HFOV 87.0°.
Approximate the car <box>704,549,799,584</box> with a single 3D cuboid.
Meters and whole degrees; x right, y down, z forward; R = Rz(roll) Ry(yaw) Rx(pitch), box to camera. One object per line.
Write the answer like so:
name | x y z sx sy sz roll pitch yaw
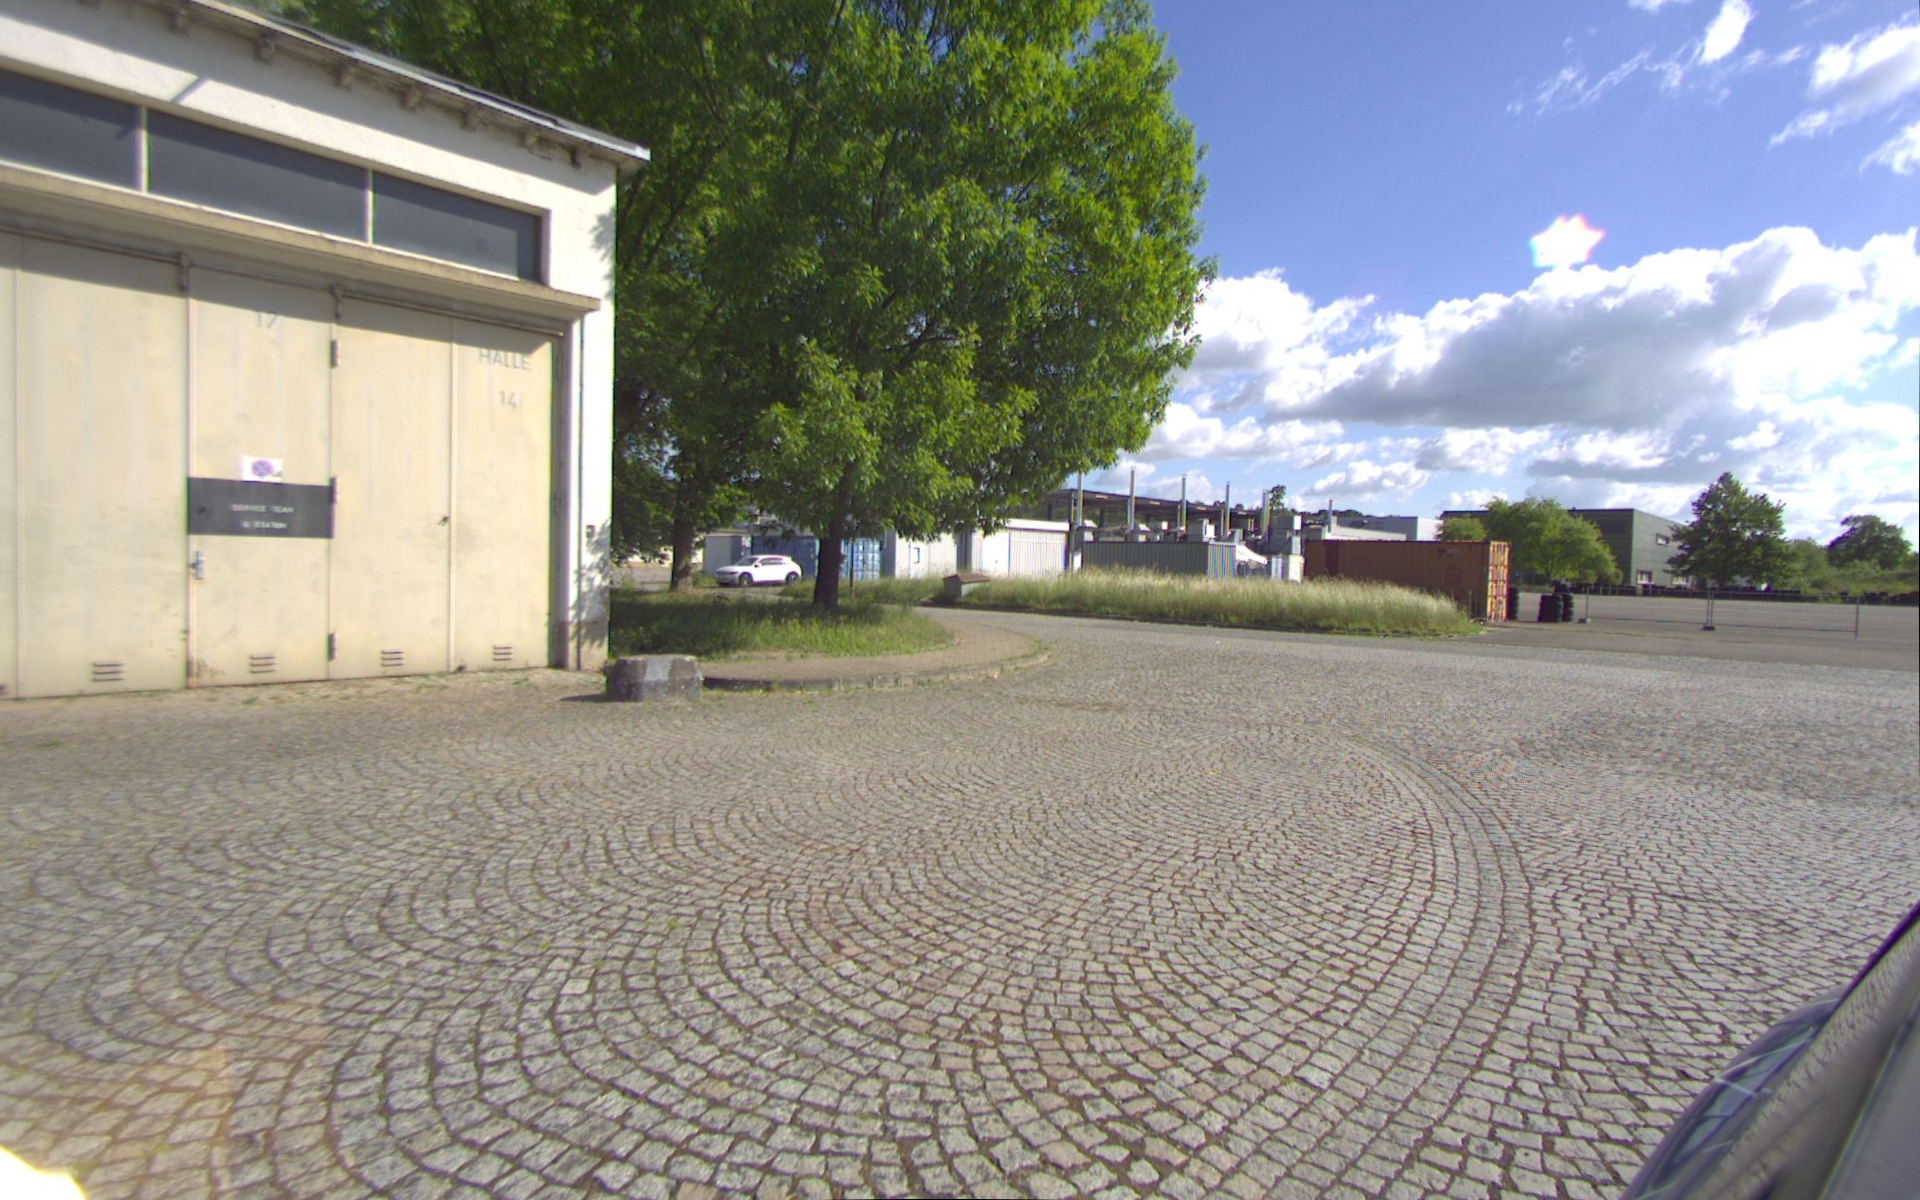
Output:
car | -10.509 -1.693 51.216 1.993 1.667 4.452 3 3 41
